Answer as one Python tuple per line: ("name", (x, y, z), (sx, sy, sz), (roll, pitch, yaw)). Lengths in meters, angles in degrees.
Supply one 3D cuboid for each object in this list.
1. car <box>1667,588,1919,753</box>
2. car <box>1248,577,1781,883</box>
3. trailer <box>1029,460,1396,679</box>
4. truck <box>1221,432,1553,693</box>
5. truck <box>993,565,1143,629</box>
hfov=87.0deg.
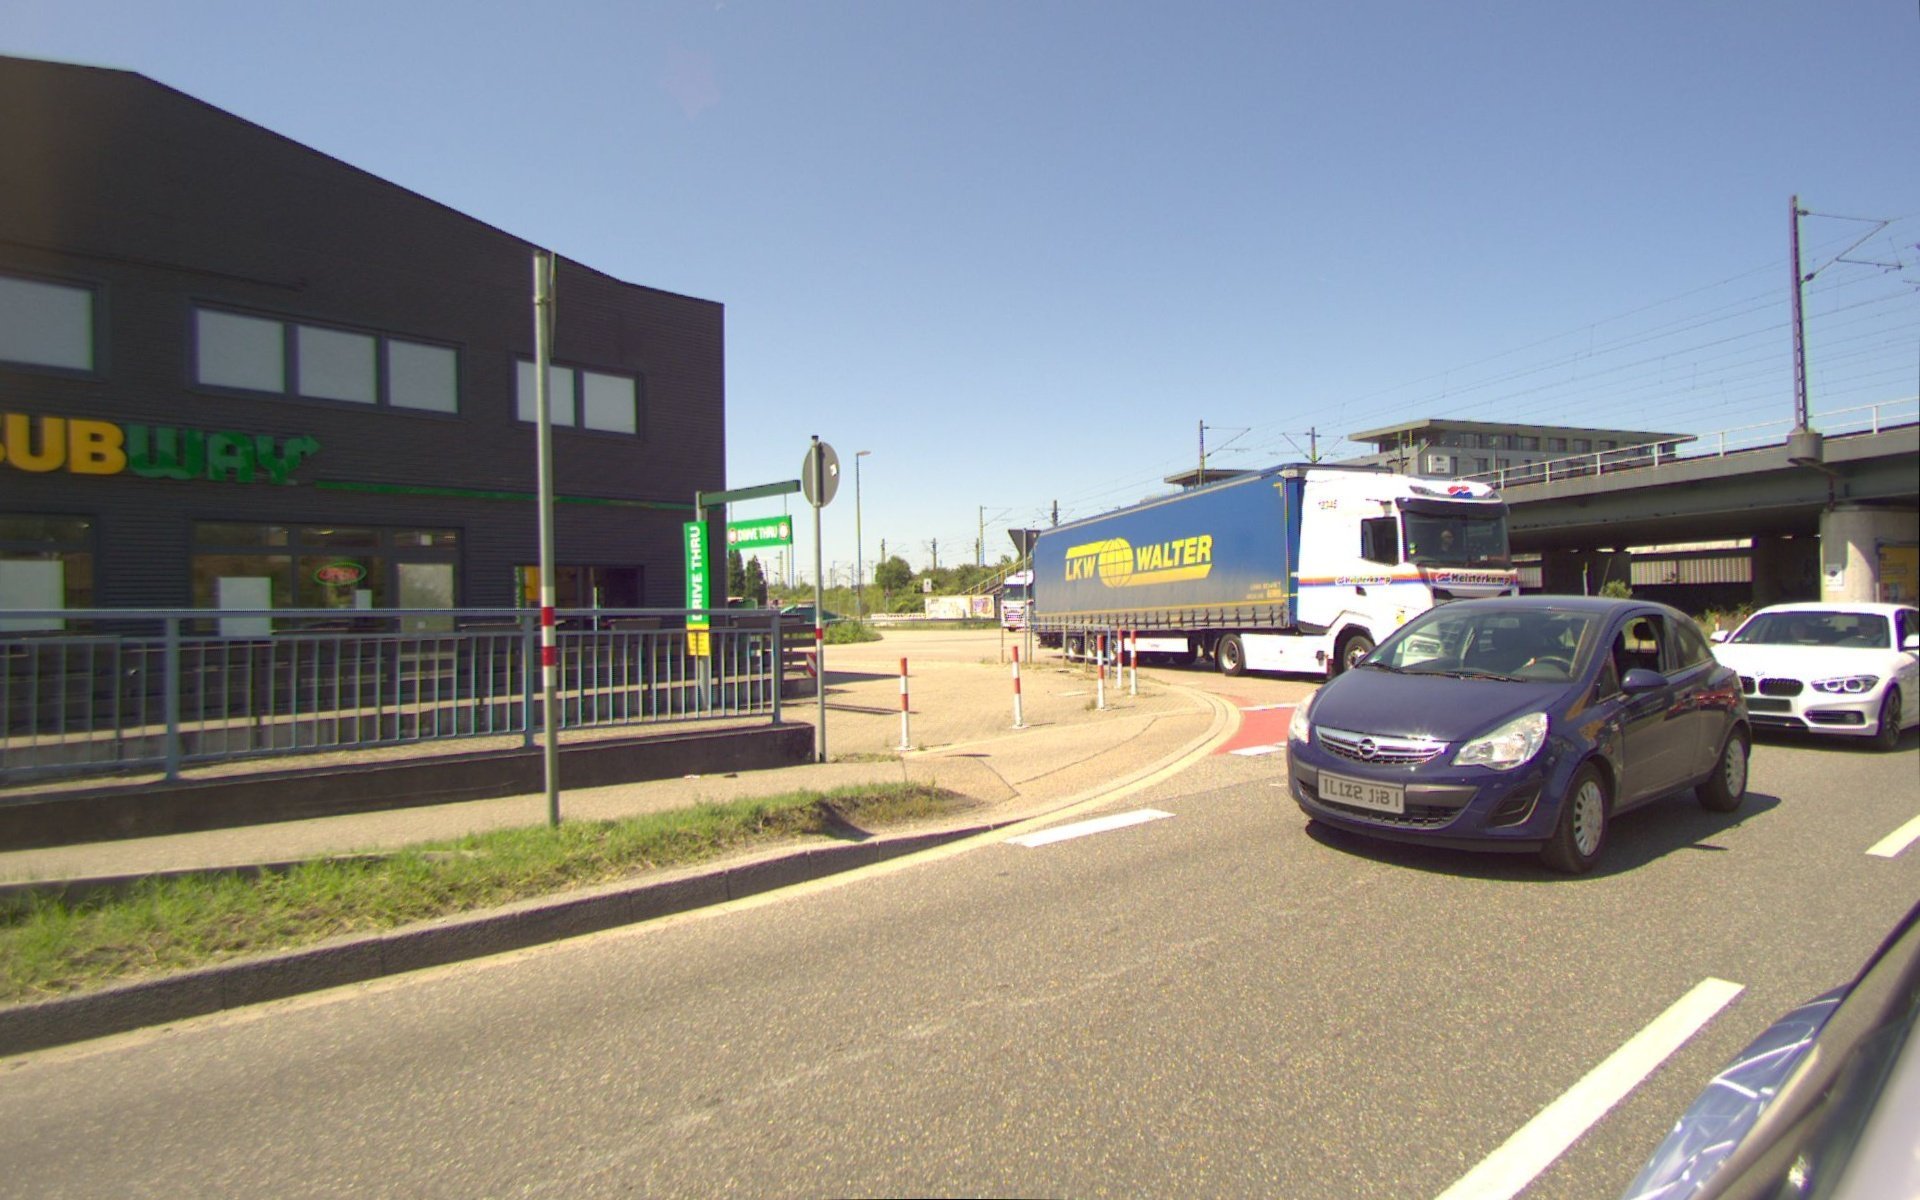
("car", (9.596, 0.634, 11.095), (3.975, 1.461, 1.764), (0, 2, -35))
("car", (3.772, 0.632, 6.661), (3.818, 1.462, 1.651), (0, 0, -37))
("trailer", (5.377, -0.521, 26.169), (2.447, 4.142, 13.932), (0, -1, -16))
("truck", (7.743, -0.630, 19.248), (2.522, 4.153, 5.774), (0, 0, -20))
("truck", (8.244, -0.296, 72.864), (2.735, 4.155, 17.222), (0, 0, 35))
